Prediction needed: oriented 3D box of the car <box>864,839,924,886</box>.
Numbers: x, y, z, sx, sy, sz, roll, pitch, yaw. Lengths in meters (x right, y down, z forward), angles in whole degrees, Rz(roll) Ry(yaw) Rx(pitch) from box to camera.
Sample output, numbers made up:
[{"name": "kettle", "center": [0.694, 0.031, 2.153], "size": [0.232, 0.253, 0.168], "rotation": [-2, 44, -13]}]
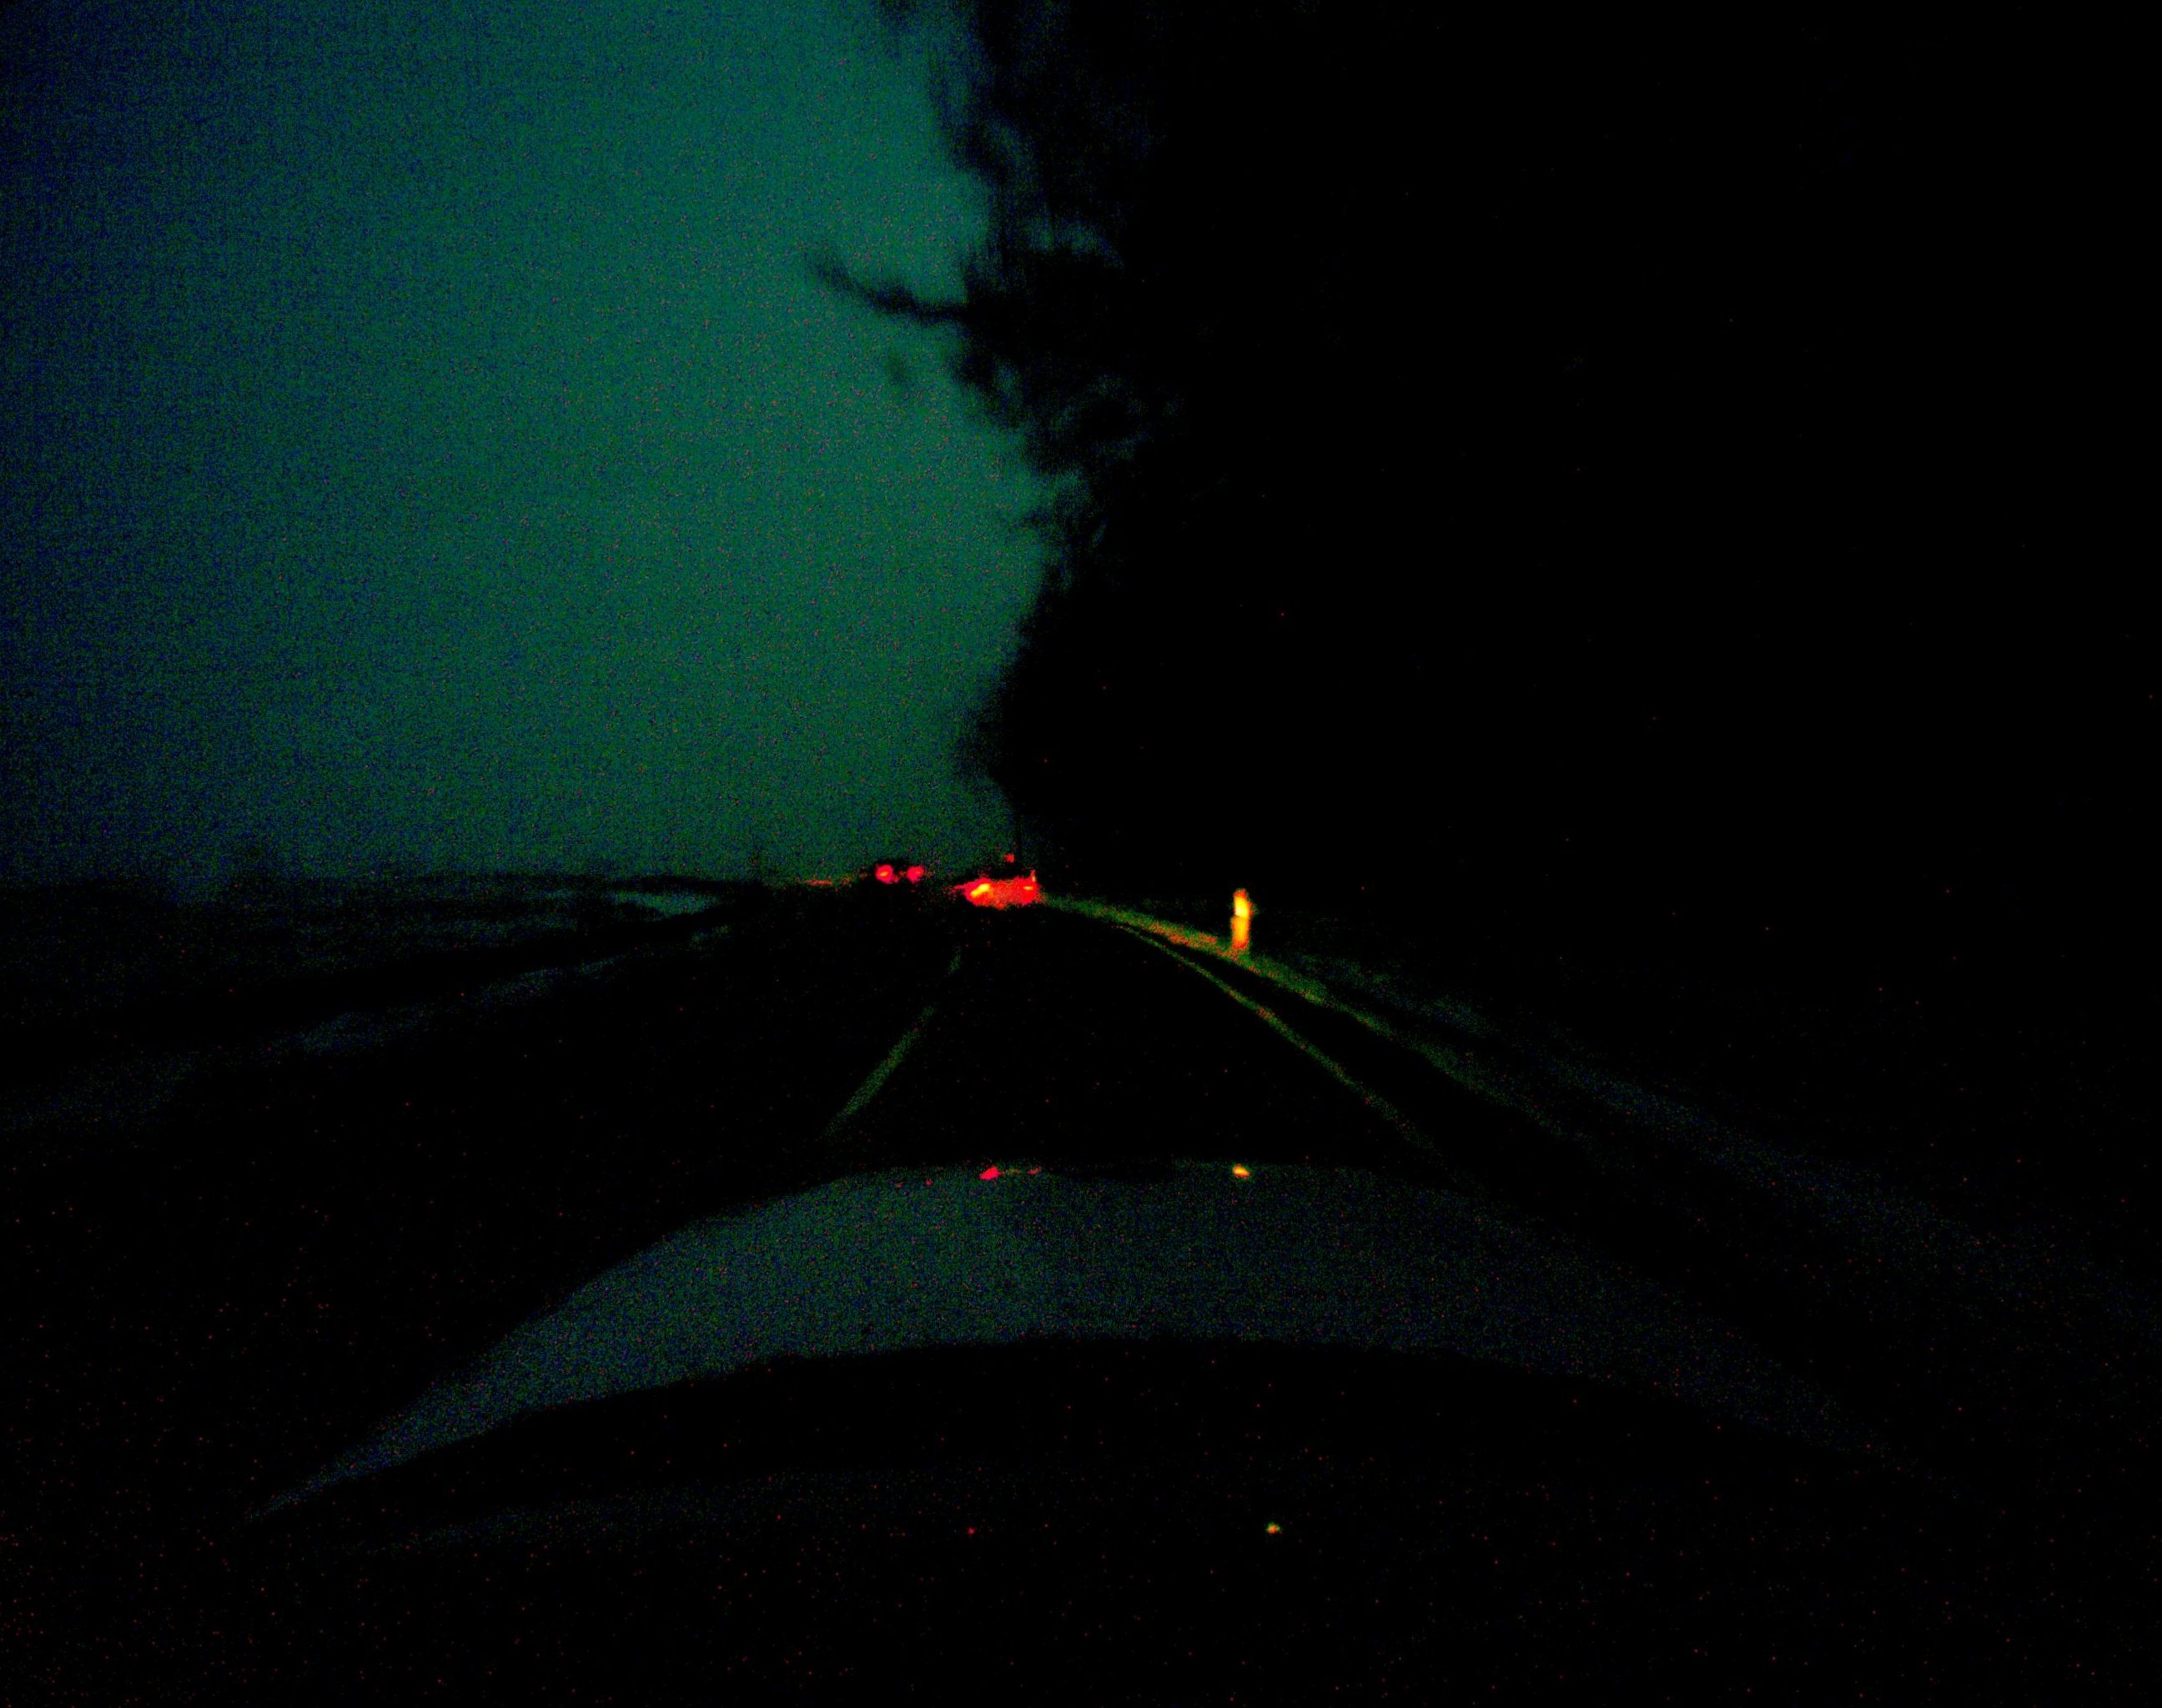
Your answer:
[{"name": "car", "center": [-7.866, 0.306, 33.956], "size": [1.999, 1.783, 3.975], "rotation": [2, 0, -19]}]

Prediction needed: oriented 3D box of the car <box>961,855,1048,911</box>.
[{"name": "car", "center": [-2.261, 0.758, 23.109], "size": [1.948, 1.381, 3.982], "rotation": [-1, 0, -13]}]
